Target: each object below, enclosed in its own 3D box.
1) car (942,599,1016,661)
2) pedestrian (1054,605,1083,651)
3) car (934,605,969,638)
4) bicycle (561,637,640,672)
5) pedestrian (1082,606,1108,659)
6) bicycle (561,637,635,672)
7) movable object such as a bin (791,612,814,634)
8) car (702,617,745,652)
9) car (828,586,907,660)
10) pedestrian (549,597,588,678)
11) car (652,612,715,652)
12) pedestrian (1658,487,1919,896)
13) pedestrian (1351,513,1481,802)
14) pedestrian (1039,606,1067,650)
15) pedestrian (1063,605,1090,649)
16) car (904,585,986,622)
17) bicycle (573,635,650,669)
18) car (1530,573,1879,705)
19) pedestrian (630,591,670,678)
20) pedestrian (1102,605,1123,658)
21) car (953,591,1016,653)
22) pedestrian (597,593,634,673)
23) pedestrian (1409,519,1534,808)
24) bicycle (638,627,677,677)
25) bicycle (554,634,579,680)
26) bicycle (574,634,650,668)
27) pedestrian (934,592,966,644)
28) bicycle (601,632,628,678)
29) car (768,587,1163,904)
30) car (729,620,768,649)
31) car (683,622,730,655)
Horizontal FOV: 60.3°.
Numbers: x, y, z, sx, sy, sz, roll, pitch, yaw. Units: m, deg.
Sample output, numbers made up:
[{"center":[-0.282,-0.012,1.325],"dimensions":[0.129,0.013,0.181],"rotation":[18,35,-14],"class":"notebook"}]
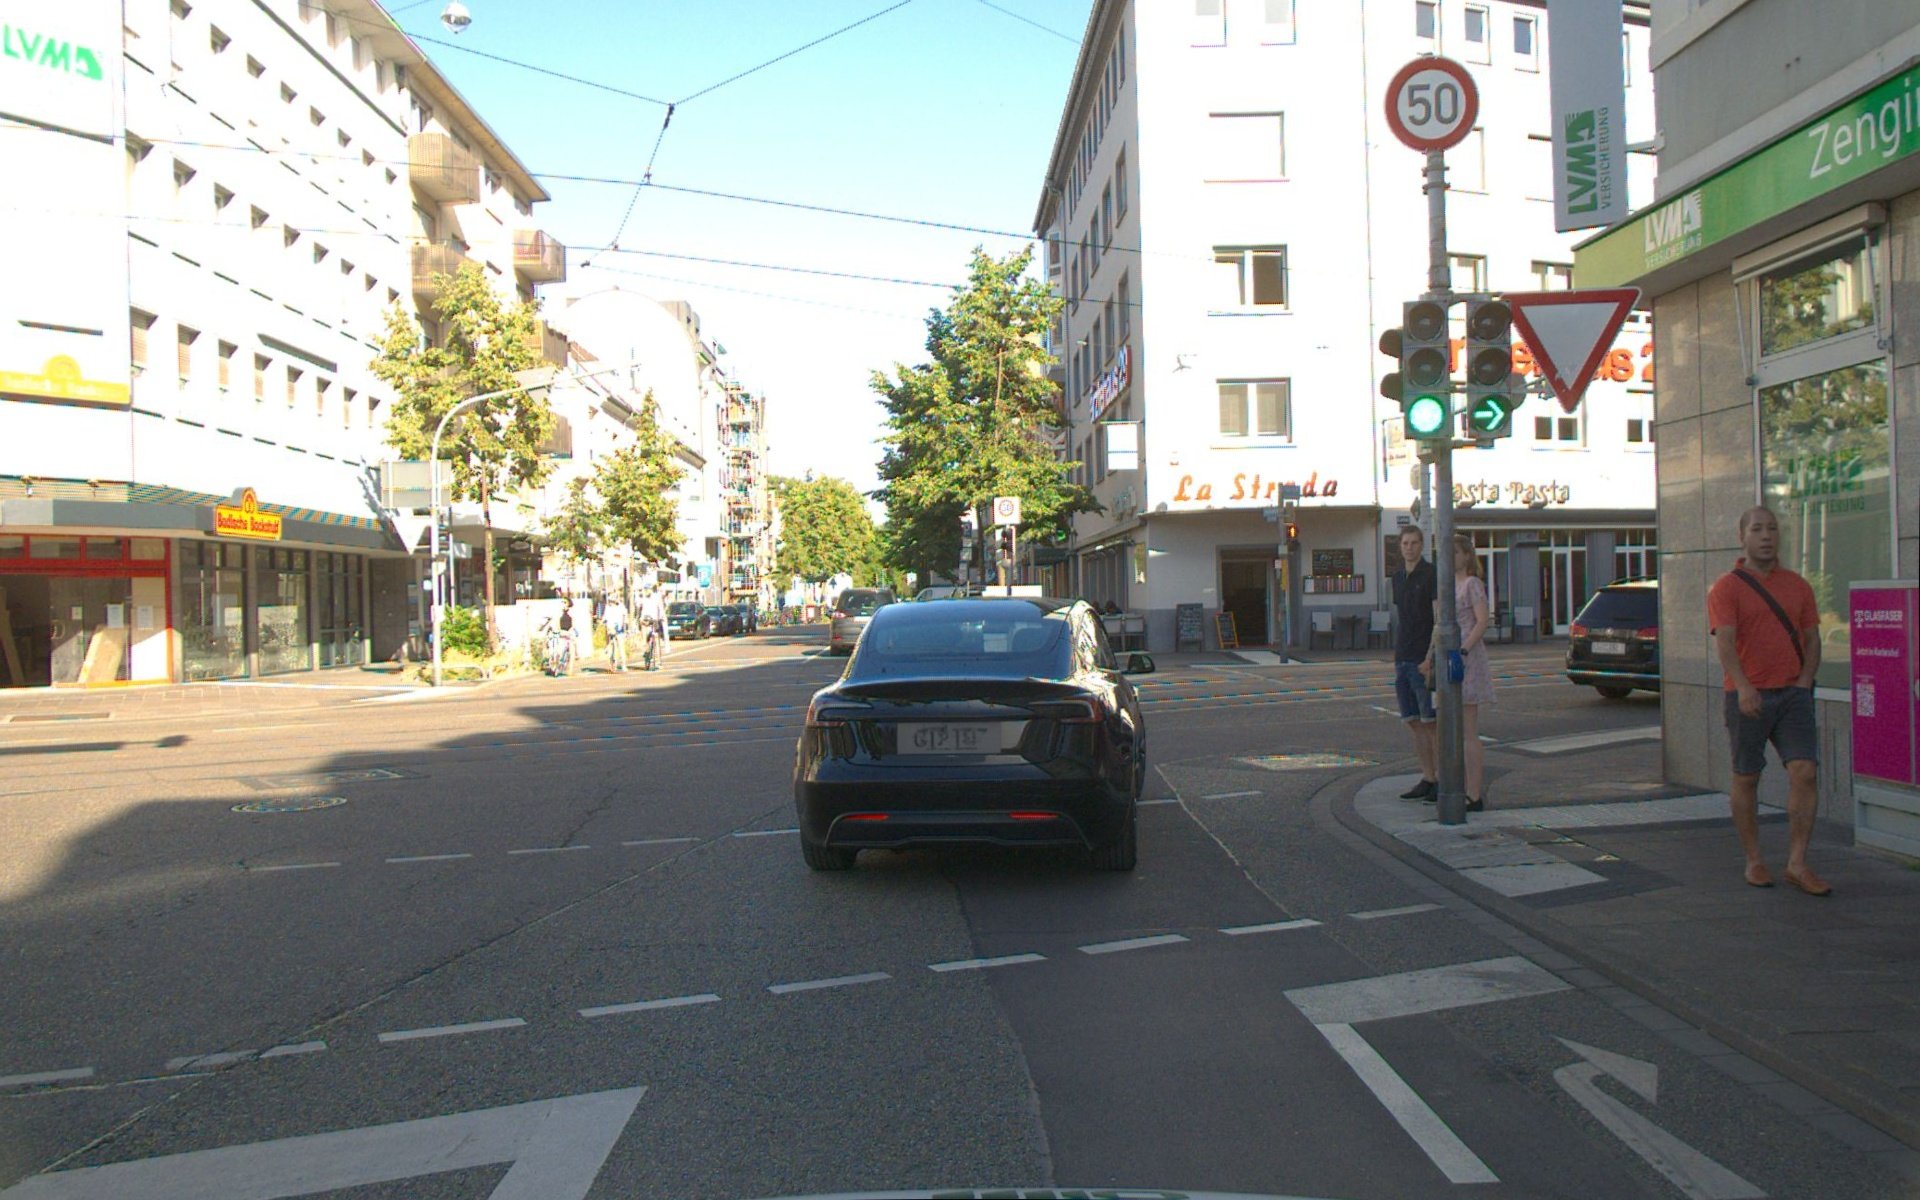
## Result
[{"center":[0.509,0.837,47.552],"dimensions":[1.960,1.665,4.287],"rotation":[-1,0,-1],"class":"car"},{"center":[3.367,0.870,51.444],"dimensions":[0.716,1.371,1.059],"rotation":[-2,-1,-4],"class":"pedestrian"},{"center":[-0.514,1.254,97.542],"dimensions":[1.953,1.856,3.999],"rotation":[-1,0,-1],"class":"car"},{"center":[-11.156,1.693,51.349],"dimensions":[2.356,0.975,0.543],"rotation":[-2,-1,-14],"class":"bicycle"},{"center":[3.417,0.820,41.948],"dimensions":[0.574,1.336,0.560],"rotation":[-2,-1,-1],"class":"pedestrian"},{"center":[-11.081,1.651,50.633],"dimensions":[2.182,0.975,0.653],"rotation":[-2,-1,-14],"class":"bicycle"},{"center":[-10.343,1.513,108.704],"dimensions":[1.289,1.432,1.065],"rotation":[-2,-1,-18],"class":"movable object such as a bin"},{"center":[-11.872,1.700,83.215],"dimensions":[1.684,1.638,3.596],"rotation":[-2,0,-2],"class":"car"},{"center":[-2.354,0.581,42.957],"dimensions":[1.865,1.763,4.287],"rotation":[-1,0,-1],"class":"car"},{"center":[-8.550,0.814,36.132],"dimensions":[0.778,1.742,0.651],"rotation":[-1,-1,-16],"class":"pedestrian"},{"center":[-11.732,1.320,70.411],"dimensions":[1.953,1.626,4.000],"rotation":[-1,0,0],"class":"car"},{"center":[3.770,0.395,7.591],"dimensions":[0.676,1.732,0.912],"rotation":[-2,0,0],"class":"pedestrian"},{"center":[3.075,0.377,11.198],"dimensions":[0.627,1.874,0.681],"rotation":[-2,-1,-2],"class":"pedestrian"},{"center":[2.949,0.886,52.543],"dimensions":[0.695,1.371,1.059],"rotation":[-2,-1,-5],"class":"pedestrian"},{"center":[3.712,0.861,52.722],"dimensions":[0.716,1.384,0.958],"rotation":[-2,-1,-2],"class":"pedestrian"},{"center":[-1.031,0.239,109.255],"dimensions":[5.283,2.183,1.999],"rotation":[-2,-1,-3],"class":"car"},{"center":[-11.090,1.642,52.684],"dimensions":[2.347,0.995,0.654],"rotation":[-2,-1,-12],"class":"bicycle"},{"center":[9.021,0.425,19.950],"dimensions":[4.298,1.443,1.748],"rotation":[-1,-1,-32],"class":"car"},{"center":[-6.987,0.765,37.281],"dimensions":[0.765,1.899,0.997],"rotation":[-1,0,-16],"class":"pedestrian"},{"center":[3.942,0.809,42.741],"dimensions":[0.477,1.345,0.654],"rotation":[-2,-1,6],"class":"pedestrian"},{"center":[0.766,0.707,53.988],"dimensions":[1.865,1.884,4.287],"rotation":[-1,0,-1],"class":"car"},{"center":[-7.776,0.740,37.315],"dimensions":[0.765,1.758,0.557],"rotation":[-1,-1,-16],"class":"pedestrian"},{"center":[3.268,0.394,10.611],"dimensions":[0.561,1.790,0.649],"rotation":[-1,-1,-2],"class":"pedestrian"},{"center":[-6.833,1.162,37.295],"dimensions":[0.745,1.025,1.719],"rotation":[-4,0,-13],"class":"bicycle"},{"center":[-8.676,1.255,36.451],"dimensions":[0.472,0.972,1.449],"rotation":[-2,-1,-15],"class":"bicycle"},{"center":[-11.243,1.650,53.514],"dimensions":[2.355,1.023,0.654],"rotation":[-2,-1,-13],"class":"bicycle"},{"center":[-0.382,0.697,63.999],"dimensions":[0.937,1.949,1.106],"rotation":[-2,-1,15],"class":"pedestrian"},{"center":[-7.735,1.219,36.999],"dimensions":[0.542,0.985,1.789],"rotation":[-2,-1,-13],"class":"bicycle"},{"center":[0.212,0.677,9.963],"dimensions":[1.830,1.452,4.367],"rotation":[-2,0,5],"class":"car"},{"center":[-11.246,1.811,88.082],"dimensions":[1.750,1.427,3.903],"rotation":[-1,0,-3],"class":"car"},{"center":[-11.920,1.789,77.981],"dimensions":[1.750,1.427,3.903],"rotation":[-1,0,-3],"class":"car"}]
